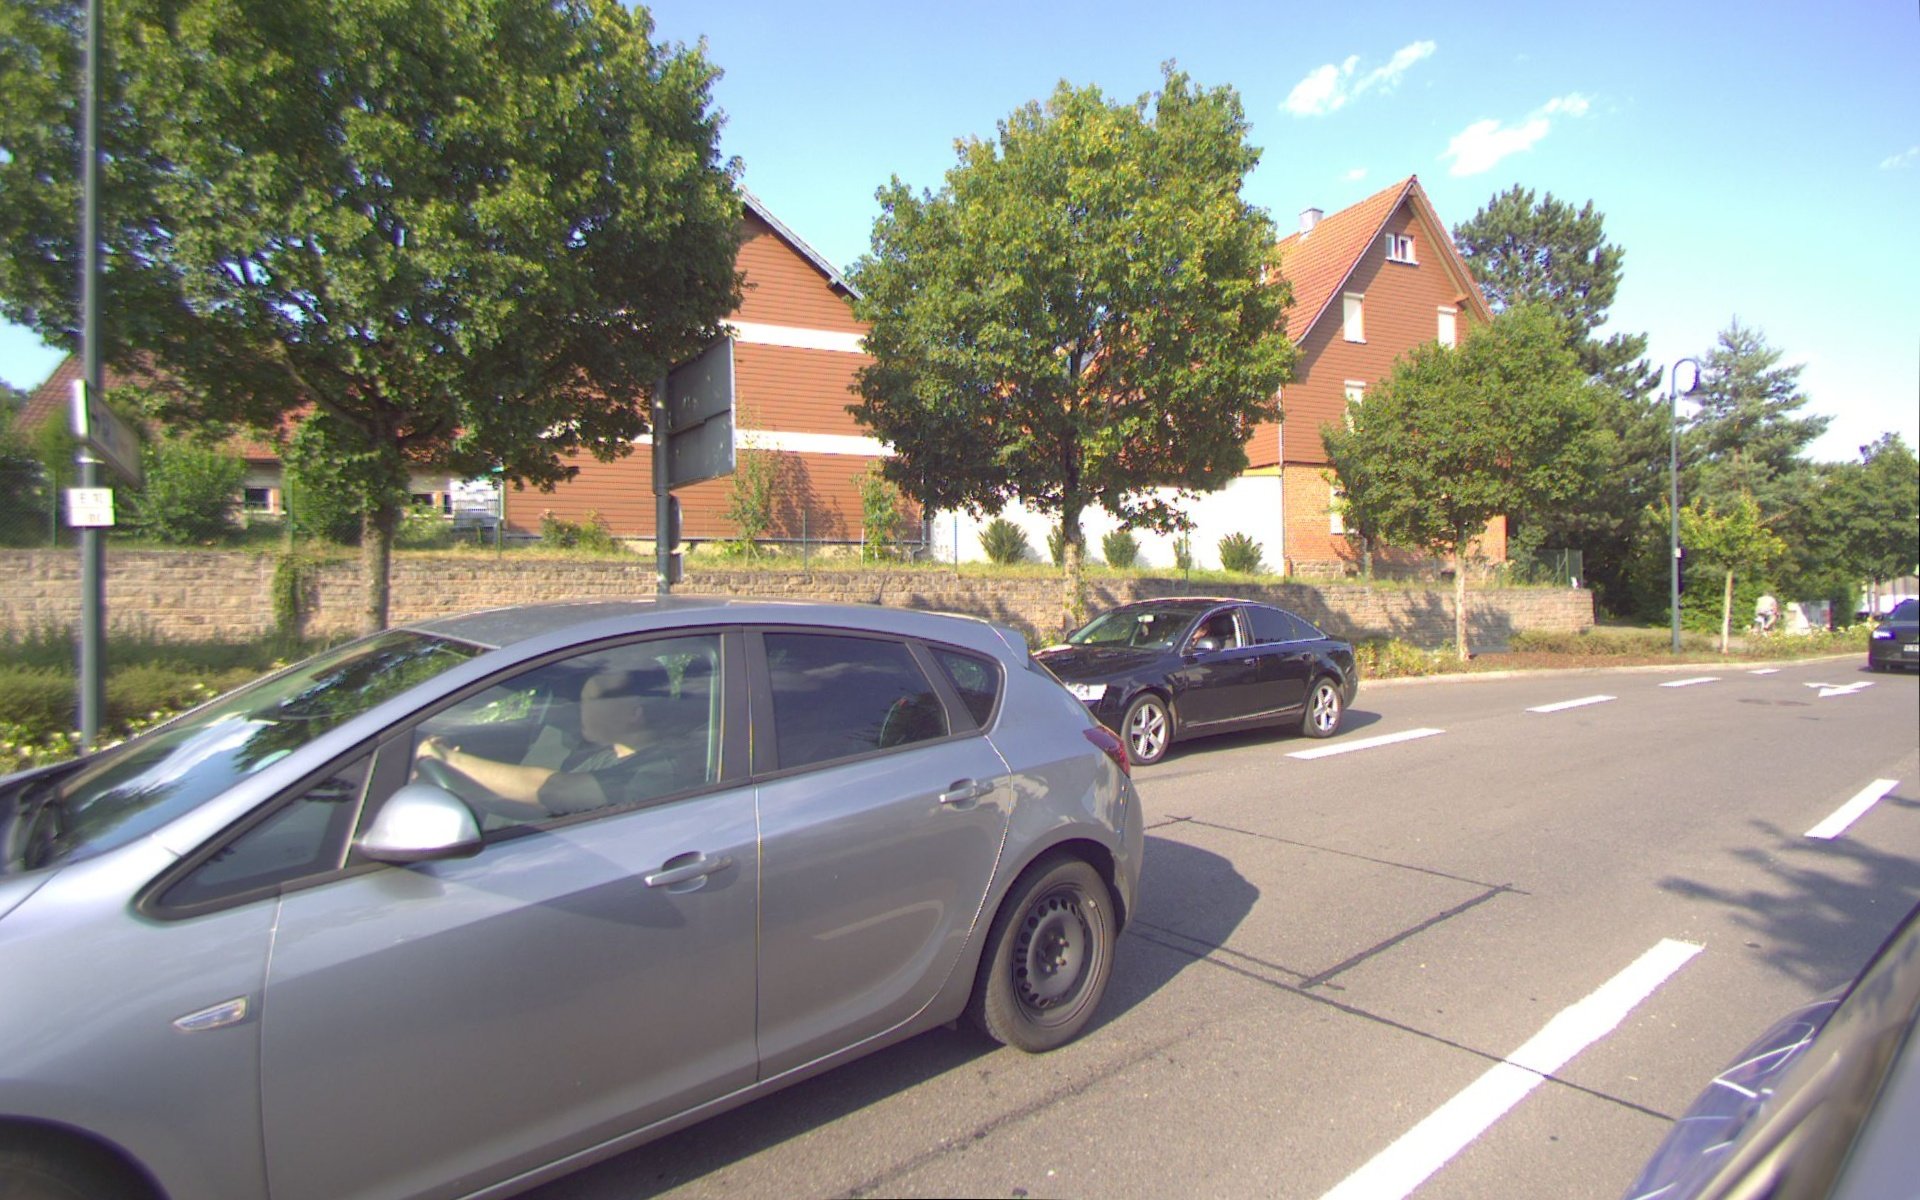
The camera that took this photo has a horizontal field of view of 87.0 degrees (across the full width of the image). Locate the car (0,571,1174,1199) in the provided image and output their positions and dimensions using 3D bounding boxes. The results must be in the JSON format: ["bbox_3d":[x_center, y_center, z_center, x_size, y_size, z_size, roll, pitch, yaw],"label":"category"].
[{"bbox_3d":[-1.331,0.674,2.911,4.095,1.460,1.746,0,0,-42],"label":"car"}]

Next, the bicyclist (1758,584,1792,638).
[{"bbox_3d":[26.325,0.345,32.680,0.719,1.699,0.605,0,0,-28],"label":"bicyclist"}]

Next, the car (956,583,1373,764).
[{"bbox_3d":[2.228,0.573,10.224,4.507,1.453,1.684,0,0,-40],"label":"car"}]

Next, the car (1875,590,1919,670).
[{"bbox_3d":[21.327,0.597,21.802,4.055,1.629,1.885,0,0,-40],"label":"car"}]

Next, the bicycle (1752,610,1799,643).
[{"bbox_3d":[26.323,0.850,32.661,1.838,1.031,0.523,0,0,-28],"label":"bicycle"}]
